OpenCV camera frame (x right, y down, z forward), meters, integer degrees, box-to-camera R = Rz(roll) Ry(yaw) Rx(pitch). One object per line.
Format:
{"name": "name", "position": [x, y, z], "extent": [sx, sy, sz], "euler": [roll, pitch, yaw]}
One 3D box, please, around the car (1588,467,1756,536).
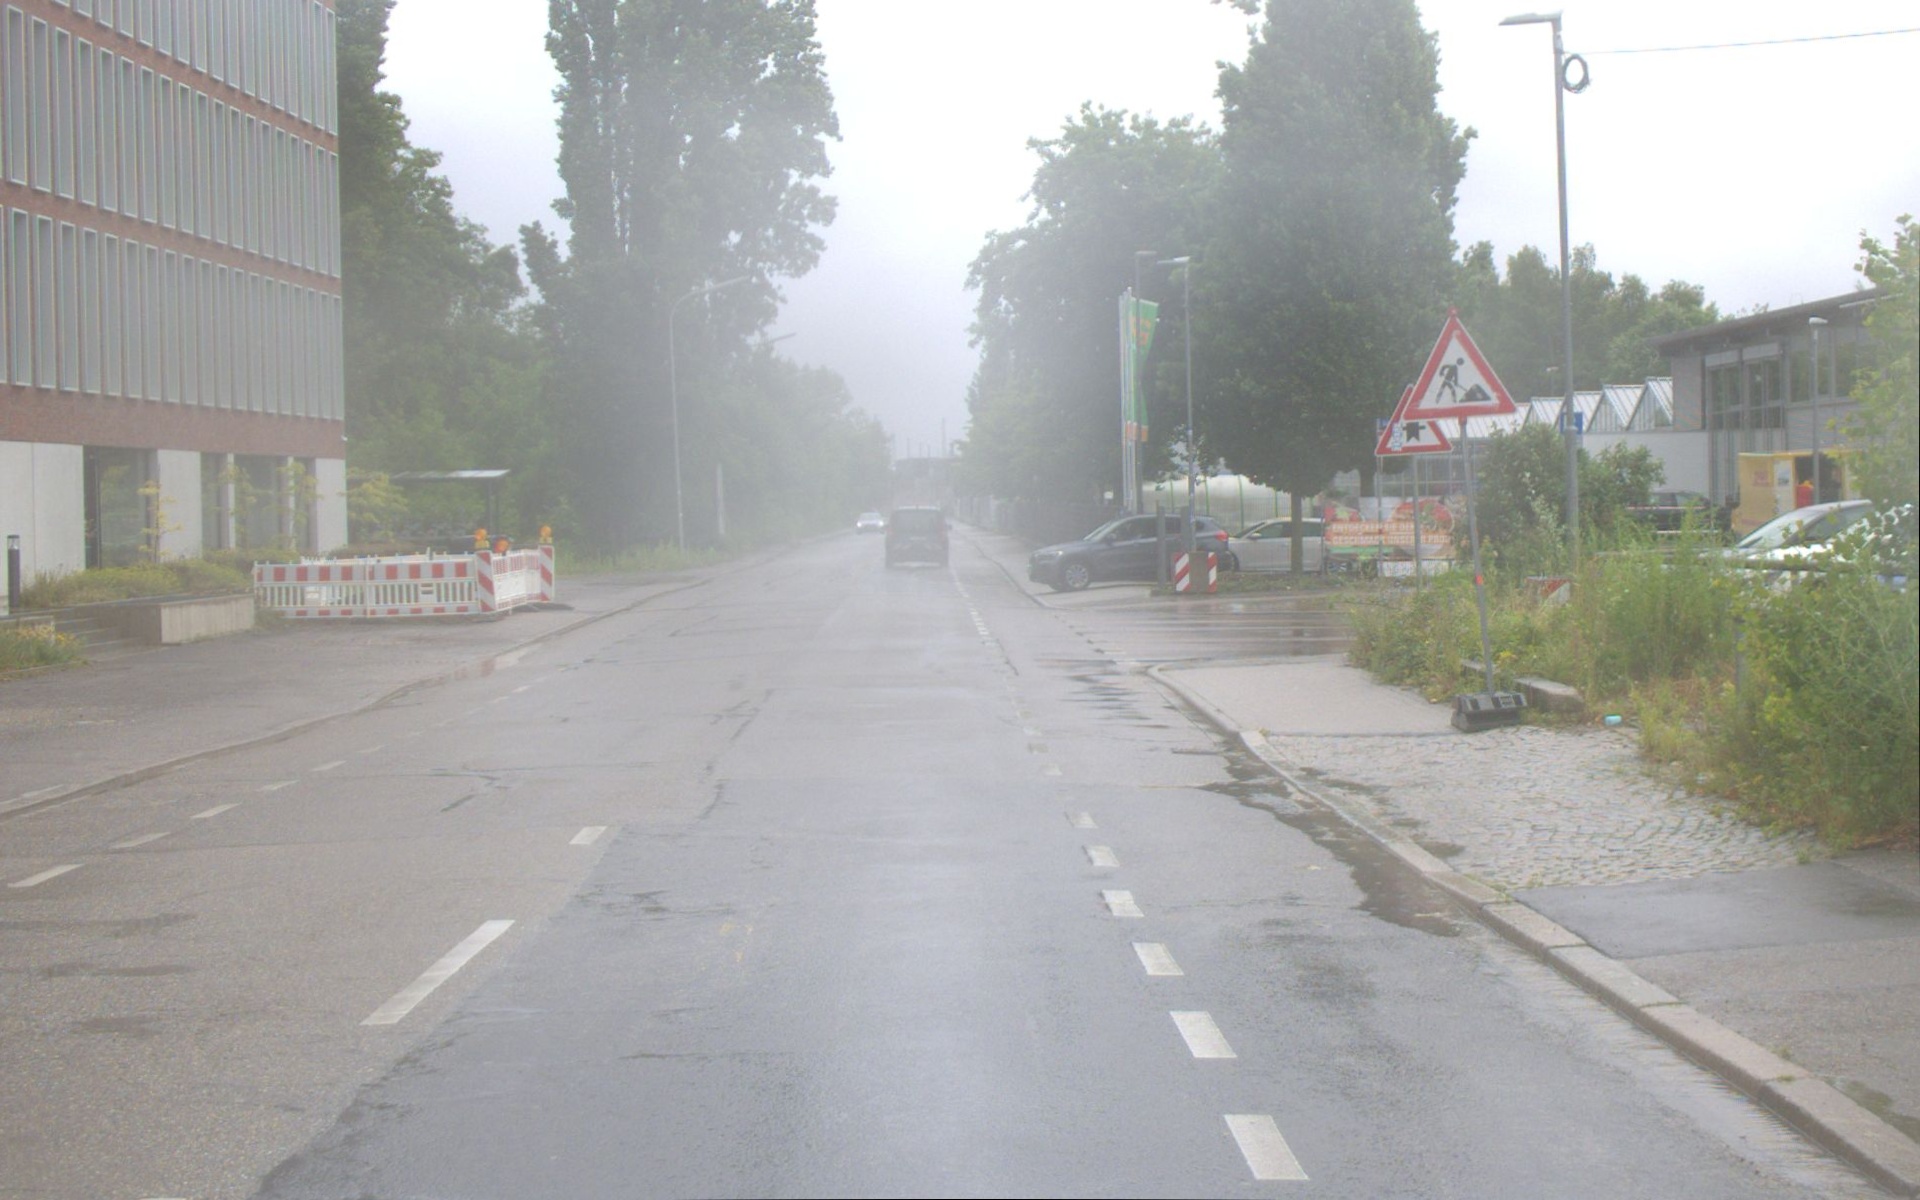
{"name": "car", "position": [20.390, -2.825, 98.554], "extent": [4.362, 1.826, 2.063], "euler": [-2, 2, 1]}

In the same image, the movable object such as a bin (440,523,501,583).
{"name": "movable object such as a bin", "position": [-11.080, -1.067, 77.826], "extent": [1.295, 1.304, 1.449], "euler": [-1, 2, -6]}

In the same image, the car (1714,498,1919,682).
{"name": "car", "position": [8.774, -0.099, 29.305], "extent": [4.295, 1.511, 1.819], "euler": [-1, 0, 1]}

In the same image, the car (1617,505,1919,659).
{"name": "car", "position": [8.963, -0.188, 34.984], "extent": [4.181, 1.504, 1.890], "euler": [-1, 0, 1]}

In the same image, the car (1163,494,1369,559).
{"name": "car", "position": [7.266, -1.762, 81.942], "extent": [4.703, 1.457, 1.891], "euler": [-1, 2, -1]}

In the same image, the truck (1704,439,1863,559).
{"name": "truck", "position": [19.730, -2.450, 82.741], "extent": [2.301, 2.650, 7.416], "euler": [-2, 2, 3]}

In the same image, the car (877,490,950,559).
{"name": "car", "position": [-1.360, -2.172, 99.163], "extent": [1.993, 1.904, 4.201], "euler": [-2, 1, -1]}

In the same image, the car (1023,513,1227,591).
{"name": "car", "position": [3.572, -1.047, 74.663], "extent": [4.135, 1.563, 1.766], "euler": [-2, 1, -8]}

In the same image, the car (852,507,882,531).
{"name": "car", "position": [-6.137, -5.367, 227.770], "extent": [1.733, 1.445, 4.381], "euler": [-4, 2, 0]}
